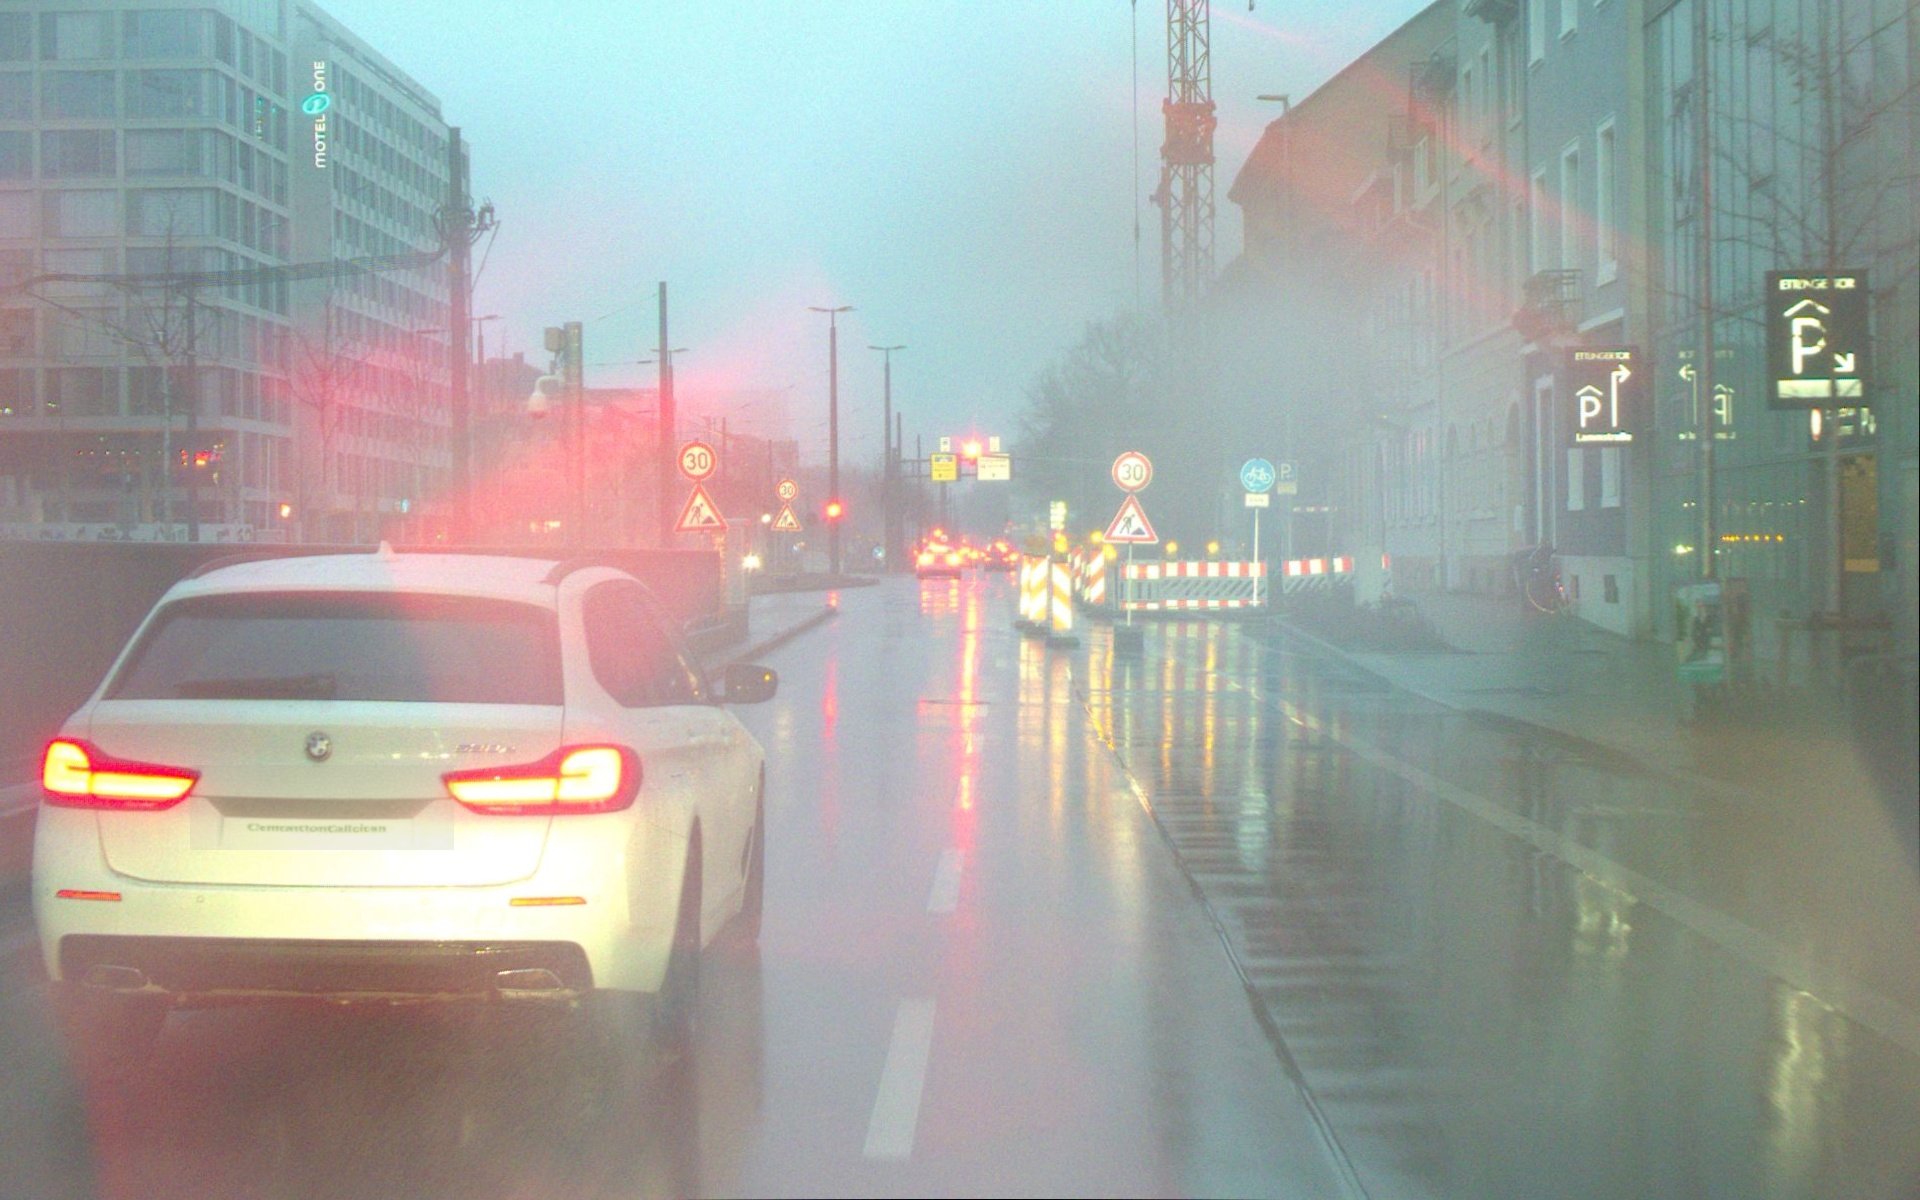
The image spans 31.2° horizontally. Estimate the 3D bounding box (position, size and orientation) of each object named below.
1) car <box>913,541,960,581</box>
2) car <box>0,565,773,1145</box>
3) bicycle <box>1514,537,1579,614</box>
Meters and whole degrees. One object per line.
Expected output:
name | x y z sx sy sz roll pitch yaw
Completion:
car | -0.991 -1.657 146.143 1.901 1.636 4.000 1 1 1
car | -1.701 0.638 11.411 1.852 1.460 4.947 1 1 0
bicycle | 9.690 -0.408 56.893 0.682 1.218 1.905 -3 1 0
